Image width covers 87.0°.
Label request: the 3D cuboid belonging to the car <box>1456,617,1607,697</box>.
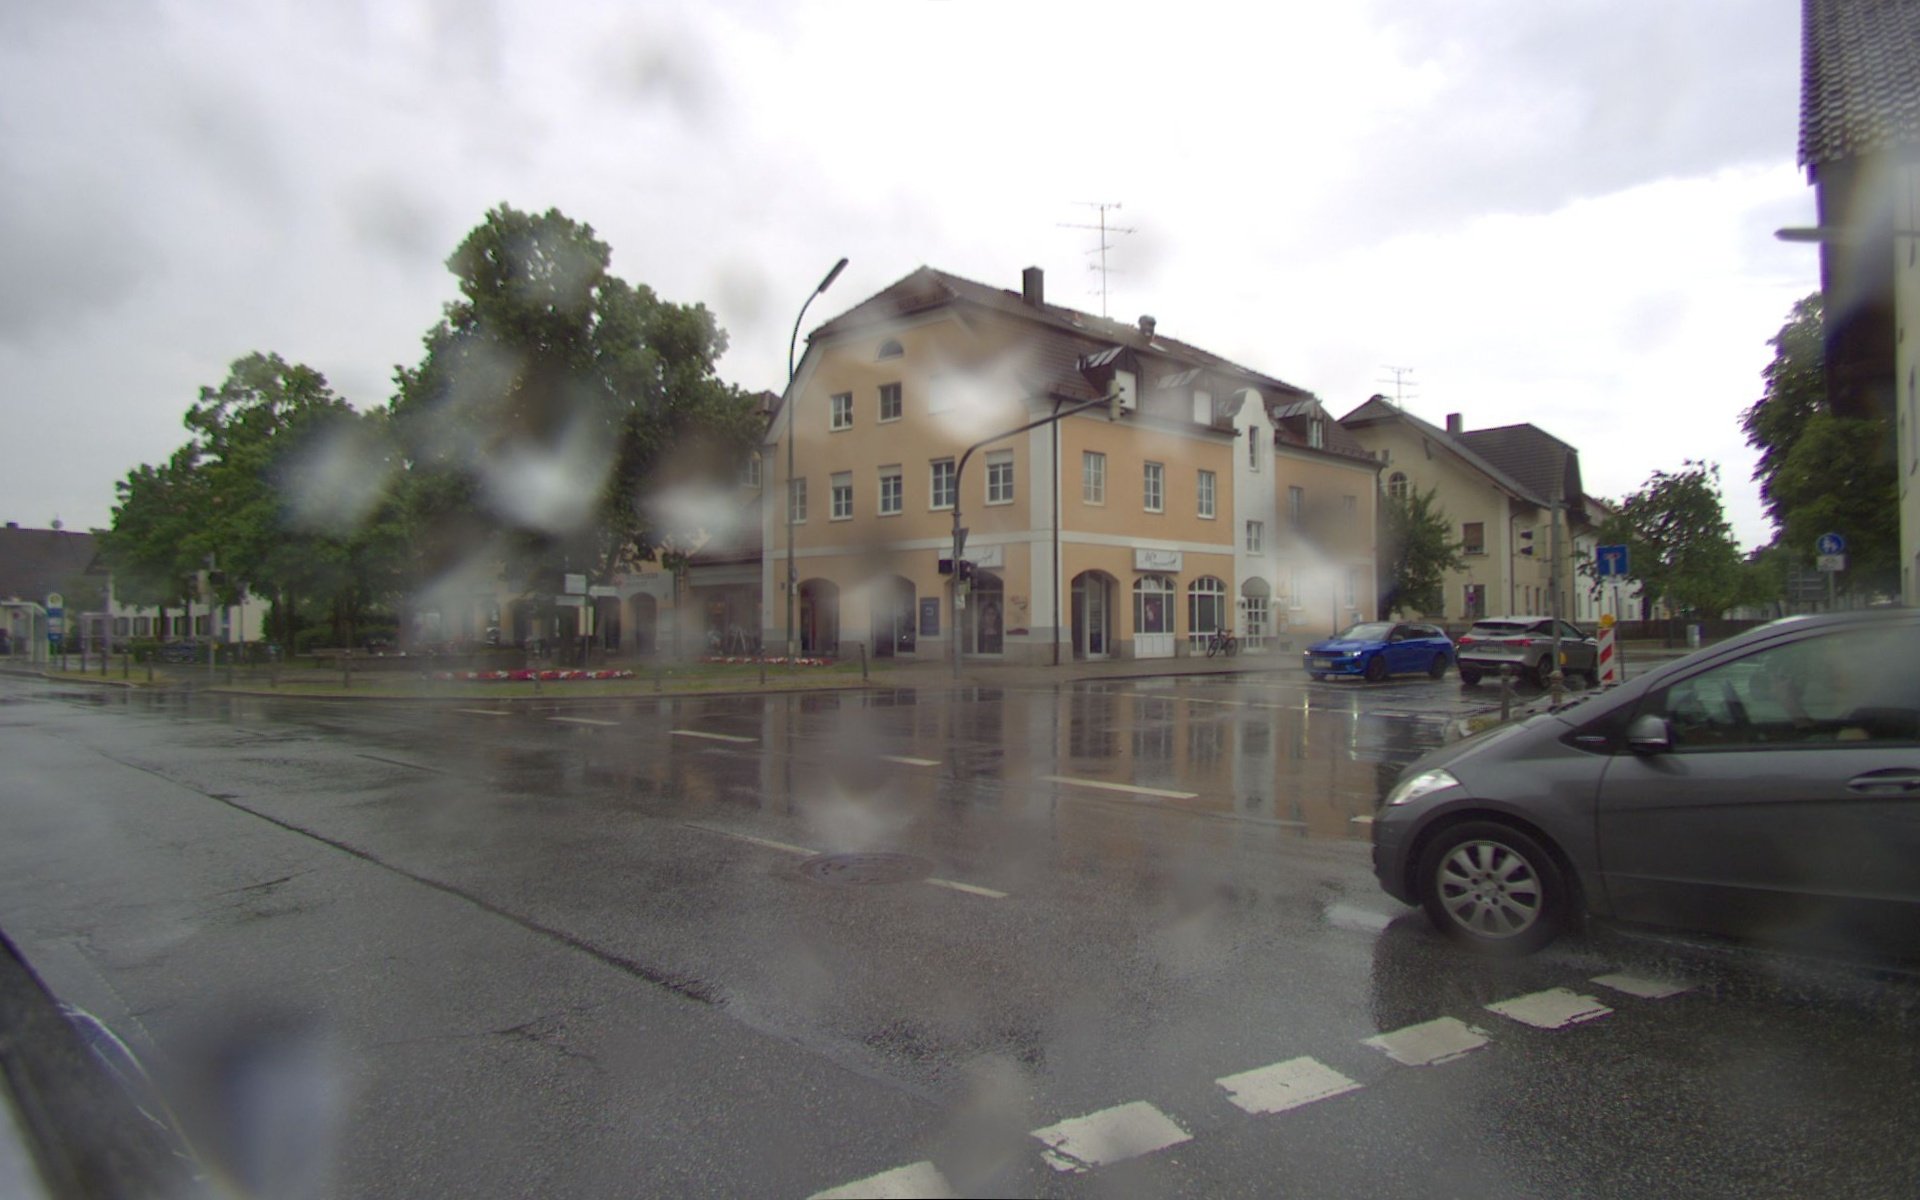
[{"bbox_3d":[13.497,1.294,23.794,2.089,1.686,4.323,-1,-3,44],"label":"car"}]

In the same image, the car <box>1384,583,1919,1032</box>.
[{"bbox_3d":[4.050,0.737,4.120,3.897,1.545,1.896,-1,-3,41],"label":"car"}]

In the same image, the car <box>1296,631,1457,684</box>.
[{"bbox_3d":[10.467,1.390,25.339,4.288,1.194,1.694,1,-2,-35],"label":"car"}]
